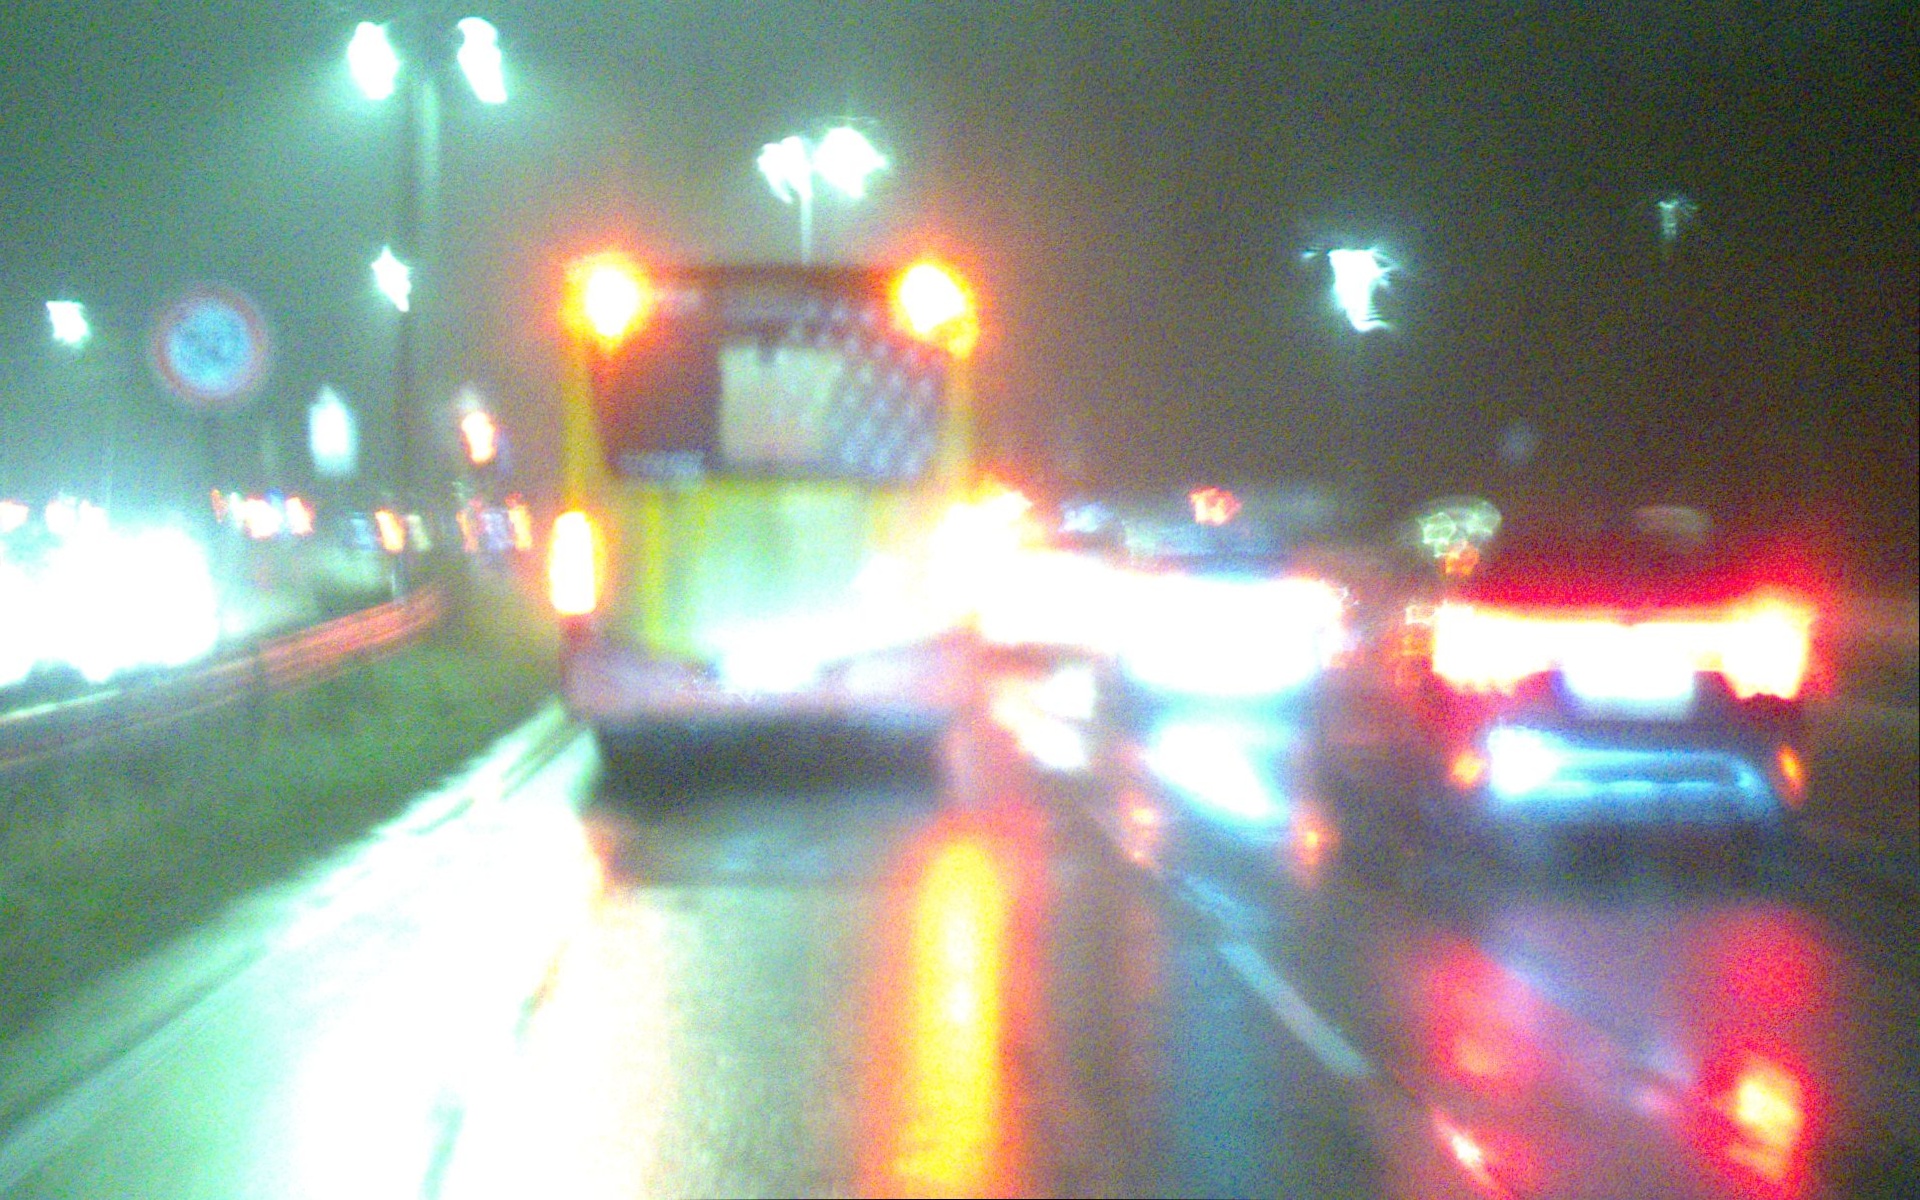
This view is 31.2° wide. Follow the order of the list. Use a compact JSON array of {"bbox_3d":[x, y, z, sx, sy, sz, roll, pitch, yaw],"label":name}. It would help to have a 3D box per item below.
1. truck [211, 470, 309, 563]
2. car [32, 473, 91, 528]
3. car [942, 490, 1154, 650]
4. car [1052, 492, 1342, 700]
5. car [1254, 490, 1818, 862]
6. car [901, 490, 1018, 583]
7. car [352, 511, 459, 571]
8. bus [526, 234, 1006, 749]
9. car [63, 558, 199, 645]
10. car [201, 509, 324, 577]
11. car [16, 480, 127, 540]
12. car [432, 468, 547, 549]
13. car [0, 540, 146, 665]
[{"bbox_3d":[-19.936,-2.416,97.784,1.855,2.384,4.781,-3,5,-21],"label":"truck"},{"bbox_3d":[-33.847,-3.739,129.515,2.120,2.007,4.001,1,1,-15],"label":"car"},{"bbox_3d":[0.883,-0.353,36.737,1.819,1.585,3.777,-1,1,-5],"label":"car"},{"bbox_3d":[1.896,-0.077,28.592,1.819,1.585,3.777,-1,1,-5],"label":"car"},{"bbox_3d":[2.594,0.281,16.376,1.739,1.559,3.777,0,1,-5],"label":"car"},{"bbox_3d":[-0.044,-1.109,59.288,1.779,1.538,3.875,0,1,-4],"label":"car"},{"bbox_3d":[-15.538,-1.653,96.182,1.751,1.625,3.623,0,1,-30],"label":"car"},{"bbox_3d":[-1.408,-0.730,24.553,2.815,3.013,8.689,0,1,-4],"label":"bus"},{"bbox_3d":[-15.546,-0.006,64.663,1.816,1.389,4.462,-5,2,-6],"label":"car"},{"bbox_3d":[-21.391,-1.749,105.339,2.212,2.007,3.999,-2,2,-36],"label":"car"},{"bbox_3d":[-30.670,-3.091,118.629,1.995,2.007,3.998,0,1,-44],"label":"car"},{"bbox_3d":[-12.132,-2.345,88.475,1.993,2.007,4.001,0,1,-22],"label":"car"},{"bbox_3d":[-12.818,0.012,48.798,1.808,1.563,4.001,-4,2,-5],"label":"car"}]
